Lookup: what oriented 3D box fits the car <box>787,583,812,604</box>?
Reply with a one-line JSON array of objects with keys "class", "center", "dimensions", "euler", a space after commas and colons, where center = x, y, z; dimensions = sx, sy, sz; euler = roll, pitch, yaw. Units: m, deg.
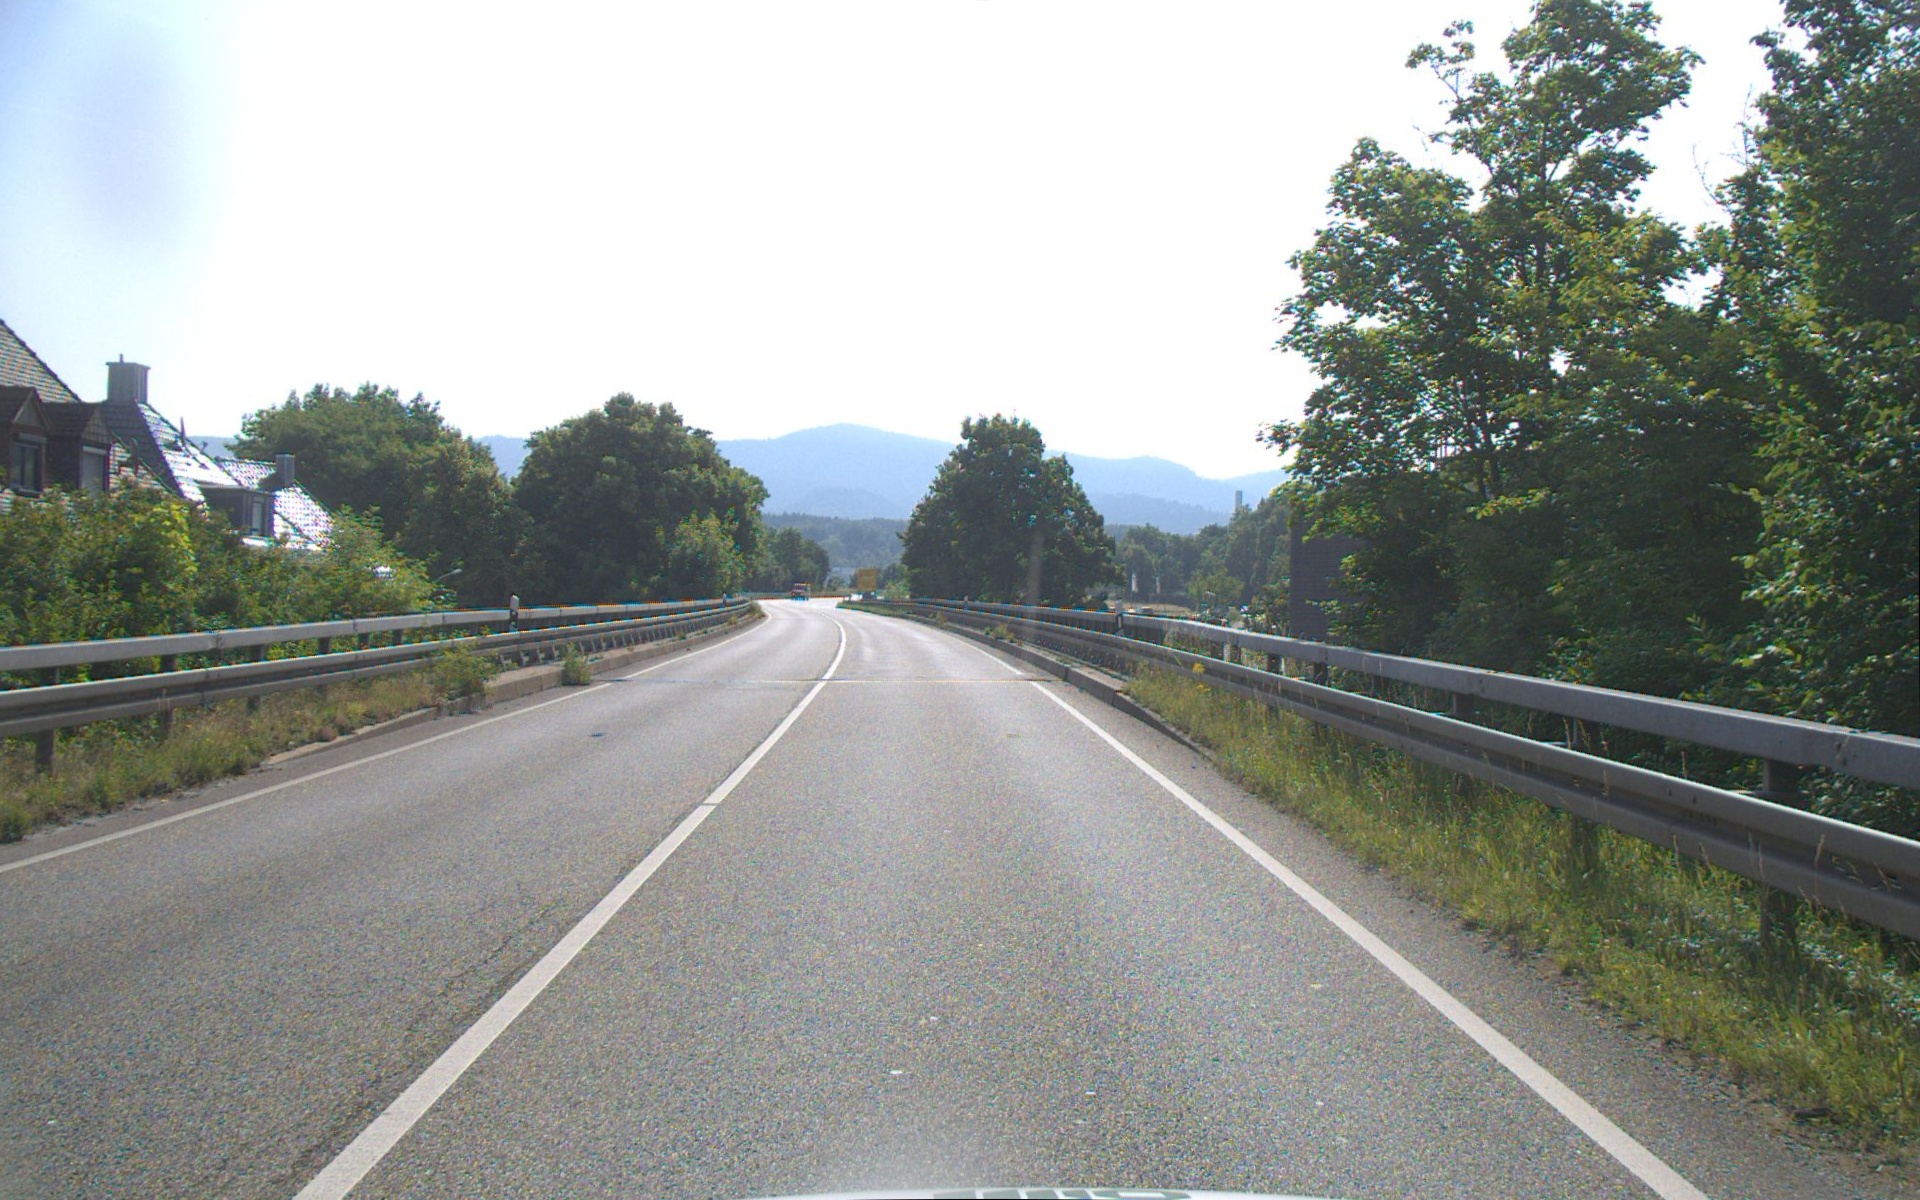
[{"class": "car", "center": [-23.296, -0.950, 239.589], "dimensions": [3.113, 2.684, 8.387], "euler": [5, 0, -7]}]
